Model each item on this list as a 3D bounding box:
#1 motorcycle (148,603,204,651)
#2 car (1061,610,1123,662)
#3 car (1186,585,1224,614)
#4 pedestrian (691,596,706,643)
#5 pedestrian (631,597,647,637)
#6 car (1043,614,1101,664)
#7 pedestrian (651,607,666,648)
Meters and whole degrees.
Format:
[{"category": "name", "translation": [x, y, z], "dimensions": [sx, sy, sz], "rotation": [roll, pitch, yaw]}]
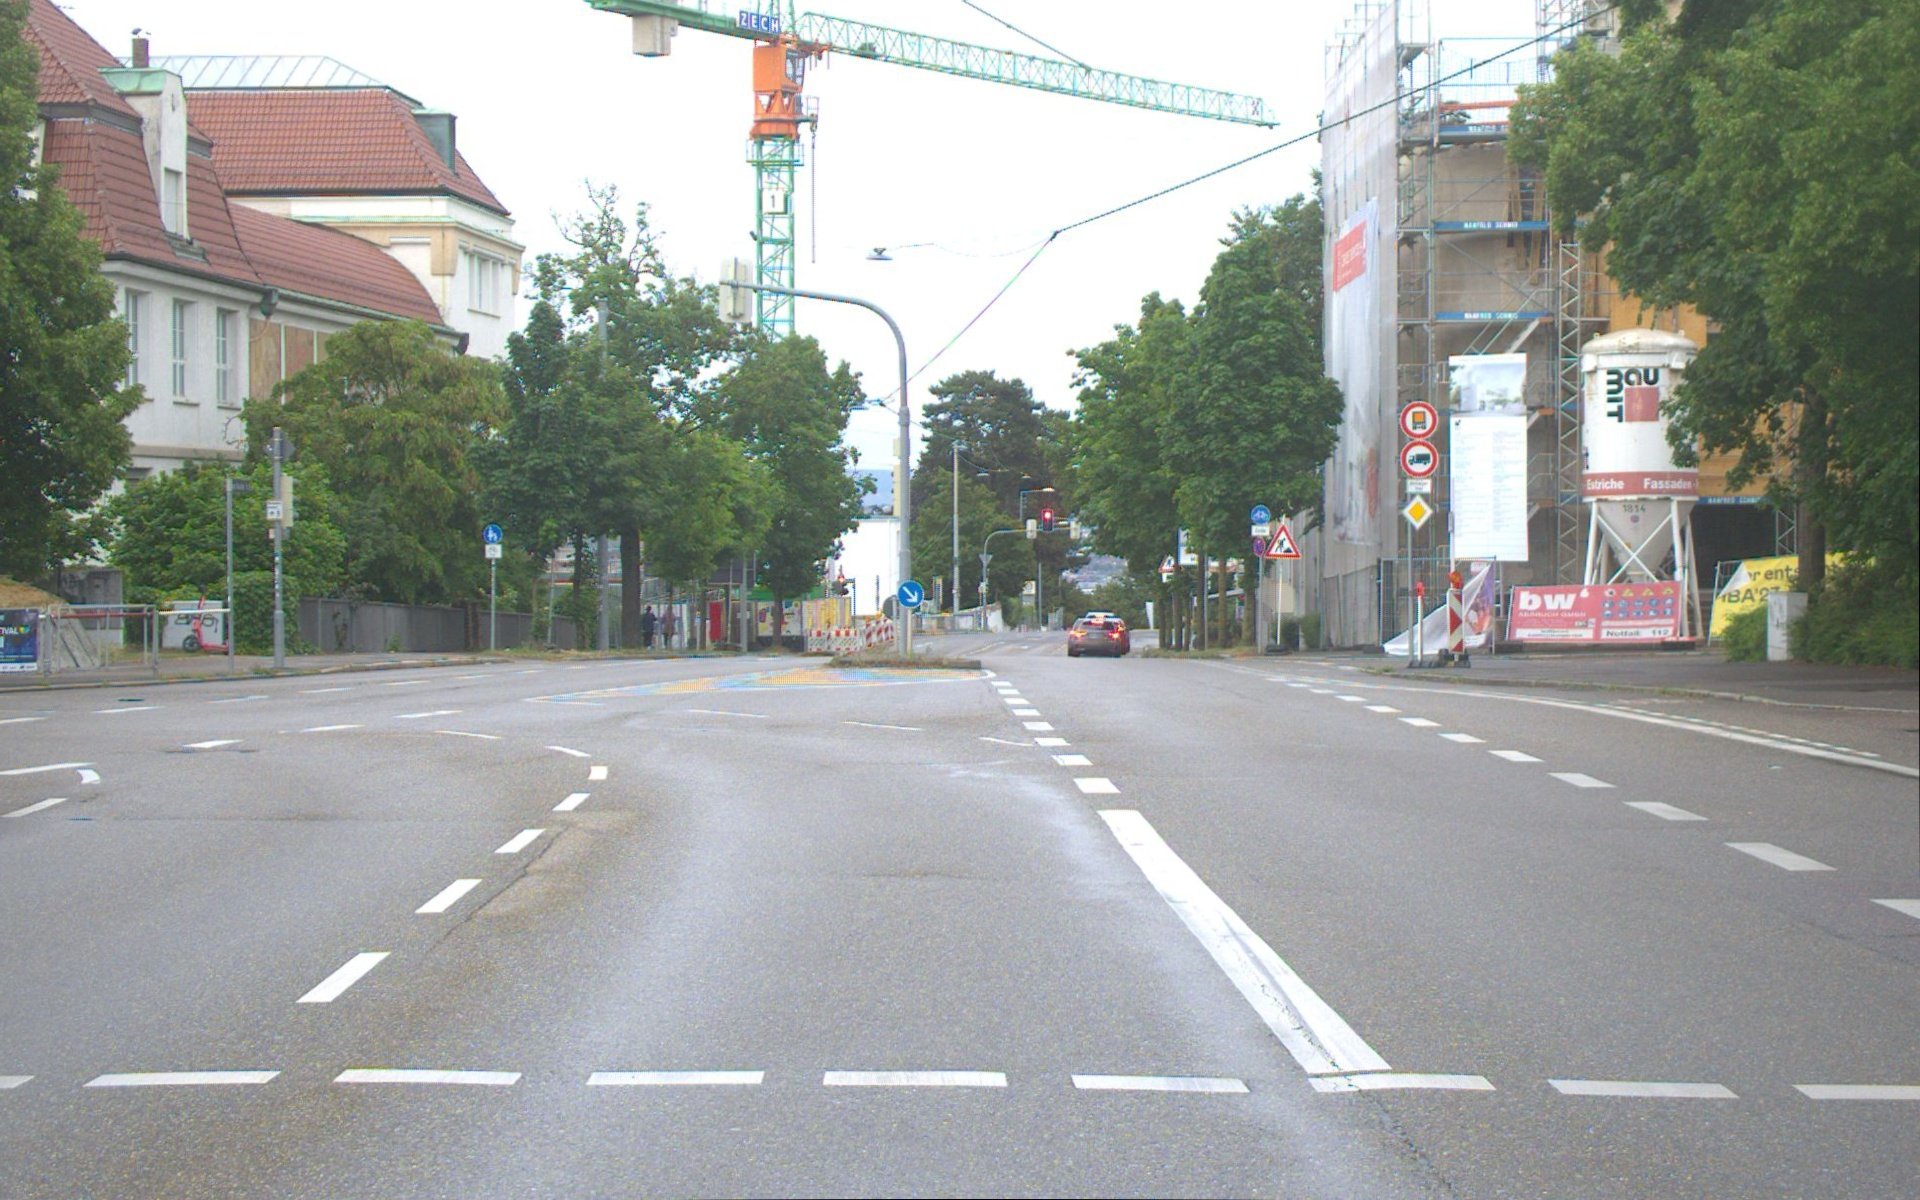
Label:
[{"category": "motorcycle", "translation": [-14.700, 0.506, 64.449], "dimensions": [0.849, 0.874, 0.877], "rotation": [1, 0, -1]}, {"category": "car", "translation": [4.767, 1.290, 124.568], "dimensions": [1.993, 1.744, 4.000], "rotation": [-1, 1, -1]}, {"category": "car", "translation": [15.650, -0.025, 219.344], "dimensions": [1.994, 1.744, 3.998], "rotation": [-1, 1, 11]}, {"category": "pedestrian", "translation": [-9.210, 0.671, 120.954], "dimensions": [0.493, 1.640, 0.534], "rotation": [1, 0, -6]}, {"category": "pedestrian", "translation": [-11.142, 0.590, 119.383], "dimensions": [0.474, 1.391, 0.411], "rotation": [-1, 1, -1]}, {"category": "car", "translation": [4.240, 1.458, 130.366], "dimensions": [1.993, 1.744, 4.000], "rotation": [-1, 1, -1]}, {"category": "pedestrian", "translation": [-10.475, 0.958, 119.380], "dimensions": [0.474, 1.391, 0.411], "rotation": [-1, 1, -1]}]
